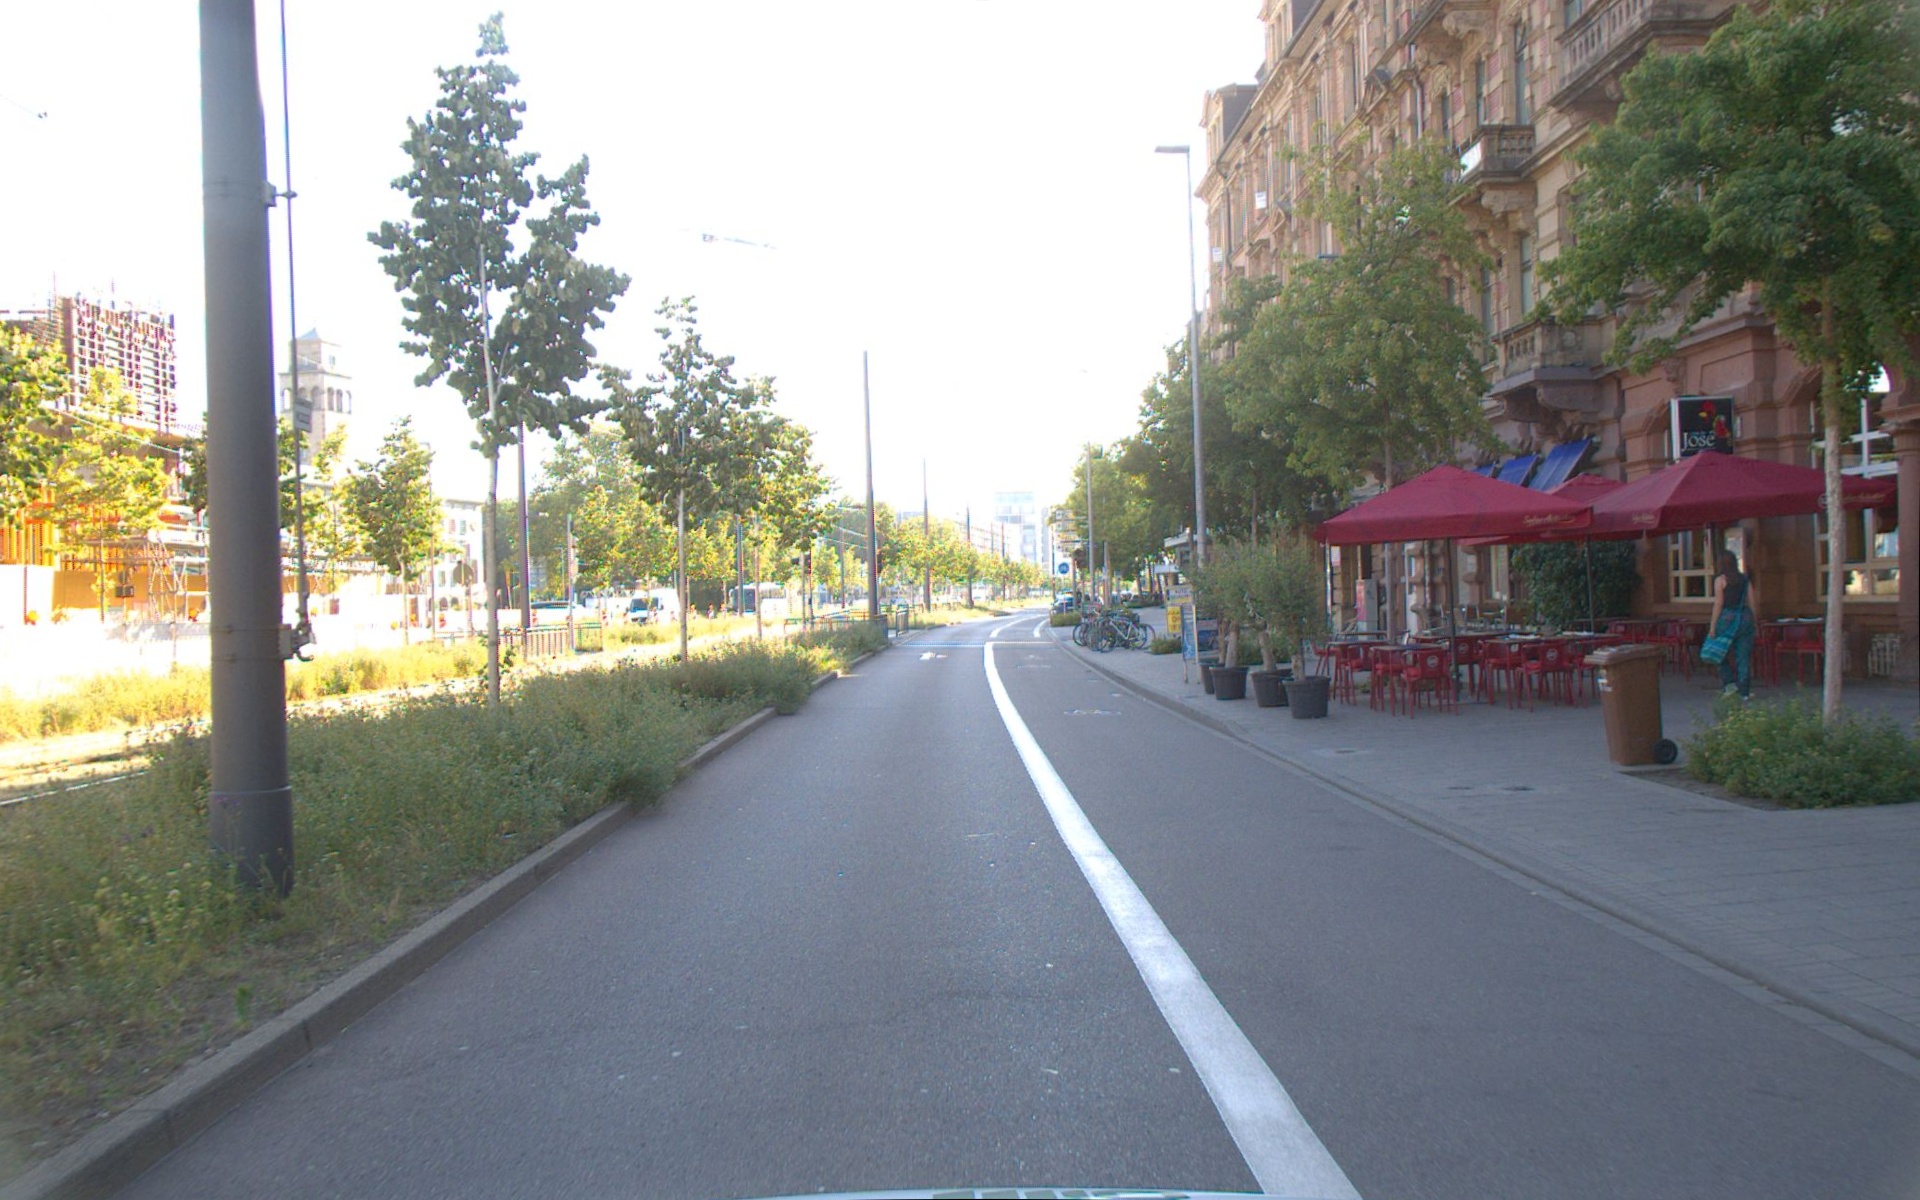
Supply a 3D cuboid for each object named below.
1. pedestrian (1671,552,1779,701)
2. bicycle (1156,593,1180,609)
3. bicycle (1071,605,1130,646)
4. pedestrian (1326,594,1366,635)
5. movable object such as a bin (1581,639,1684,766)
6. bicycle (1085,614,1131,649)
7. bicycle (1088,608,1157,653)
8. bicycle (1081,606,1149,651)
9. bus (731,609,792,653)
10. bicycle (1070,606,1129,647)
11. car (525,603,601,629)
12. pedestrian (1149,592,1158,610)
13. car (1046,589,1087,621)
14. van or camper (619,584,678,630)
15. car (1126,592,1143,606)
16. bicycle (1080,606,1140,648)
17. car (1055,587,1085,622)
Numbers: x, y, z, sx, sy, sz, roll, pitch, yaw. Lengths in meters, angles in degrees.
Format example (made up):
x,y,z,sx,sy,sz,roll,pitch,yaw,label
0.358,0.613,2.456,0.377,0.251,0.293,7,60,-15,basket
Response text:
x,y,z,sx,sy,sz,roll,pitch,yaw,label
8.393,0.285,18.167,0.713,1.560,0.796,-4,0,-1,pedestrian
16.332,0.069,129.880,1.860,1.112,0.392,-3,0,1,bicycle
4.275,0.780,50.256,1.717,1.123,0.507,-4,0,5,bicycle
9.632,0.356,41.332,0.797,0.979,0.804,-2,0,1,pedestrian
5.374,0.816,13.250,0.661,0.940,0.560,-5,-2,19,movable object such as a bin
4.249,0.900,47.529,1.248,0.892,0.507,-4,0,5,bicycle
4.348,0.804,44.367,1.767,1.065,0.566,-4,0,5,bicycle
4.301,0.787,45.878,1.806,1.123,0.566,-4,0,5,bicycle
-18.240,2.774,152.917,2.739,3.657,12.707,-1,0,6,bus
4.295,0.803,50.847,1.717,1.123,0.507,-4,0,5,bicycle
-29.740,1.212,124.043,5.116,1.747,2.126,-2,0,5,car
18.204,0.074,155.564,0.772,1.677,1.137,-3,0,7,pedestrian
5.900,0.263,92.110,1.892,1.626,4.699,-4,0,0,car
-18.904,0.391,100.810,2.177,2.553,7.199,-4,1,-1,van or camper
20.305,-0.112,192.504,1.670,1.443,4.280,-4,0,9,car
4.447,0.798,48.975,1.685,1.123,0.507,-4,0,5,bicycle
6.619,0.269,99.640,1.698,1.952,4.395,-4,0,4,car
